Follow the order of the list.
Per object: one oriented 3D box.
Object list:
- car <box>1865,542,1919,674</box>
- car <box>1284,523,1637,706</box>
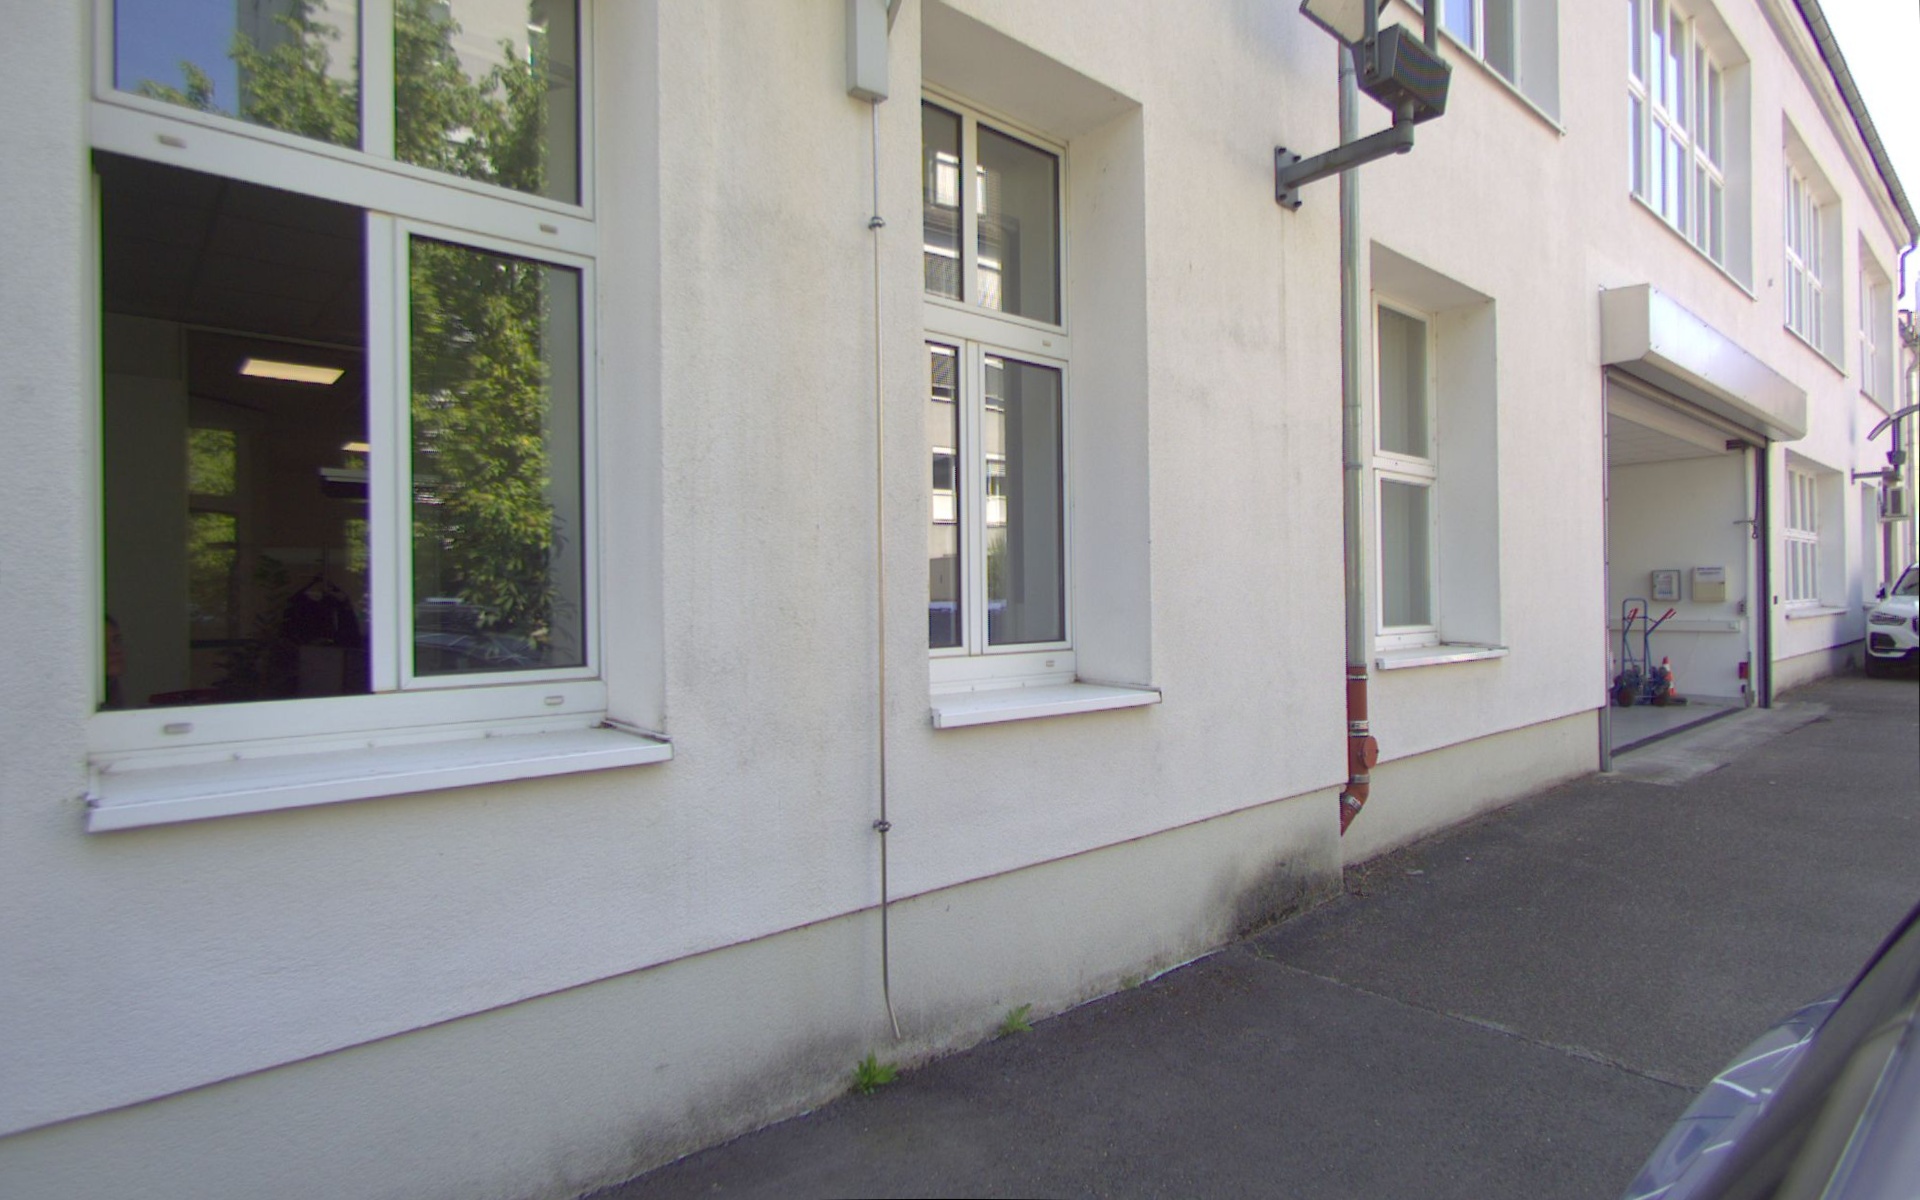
[{"bbox_3d":[15.258,0.046,15.113,4.645,1.825,2.010,-2,1,-41],"label":"car"},{"bbox_3d":[6.403,0.149,13.318,1.623,2.039,3.838,-2,1,-37],"label":"car"}]
